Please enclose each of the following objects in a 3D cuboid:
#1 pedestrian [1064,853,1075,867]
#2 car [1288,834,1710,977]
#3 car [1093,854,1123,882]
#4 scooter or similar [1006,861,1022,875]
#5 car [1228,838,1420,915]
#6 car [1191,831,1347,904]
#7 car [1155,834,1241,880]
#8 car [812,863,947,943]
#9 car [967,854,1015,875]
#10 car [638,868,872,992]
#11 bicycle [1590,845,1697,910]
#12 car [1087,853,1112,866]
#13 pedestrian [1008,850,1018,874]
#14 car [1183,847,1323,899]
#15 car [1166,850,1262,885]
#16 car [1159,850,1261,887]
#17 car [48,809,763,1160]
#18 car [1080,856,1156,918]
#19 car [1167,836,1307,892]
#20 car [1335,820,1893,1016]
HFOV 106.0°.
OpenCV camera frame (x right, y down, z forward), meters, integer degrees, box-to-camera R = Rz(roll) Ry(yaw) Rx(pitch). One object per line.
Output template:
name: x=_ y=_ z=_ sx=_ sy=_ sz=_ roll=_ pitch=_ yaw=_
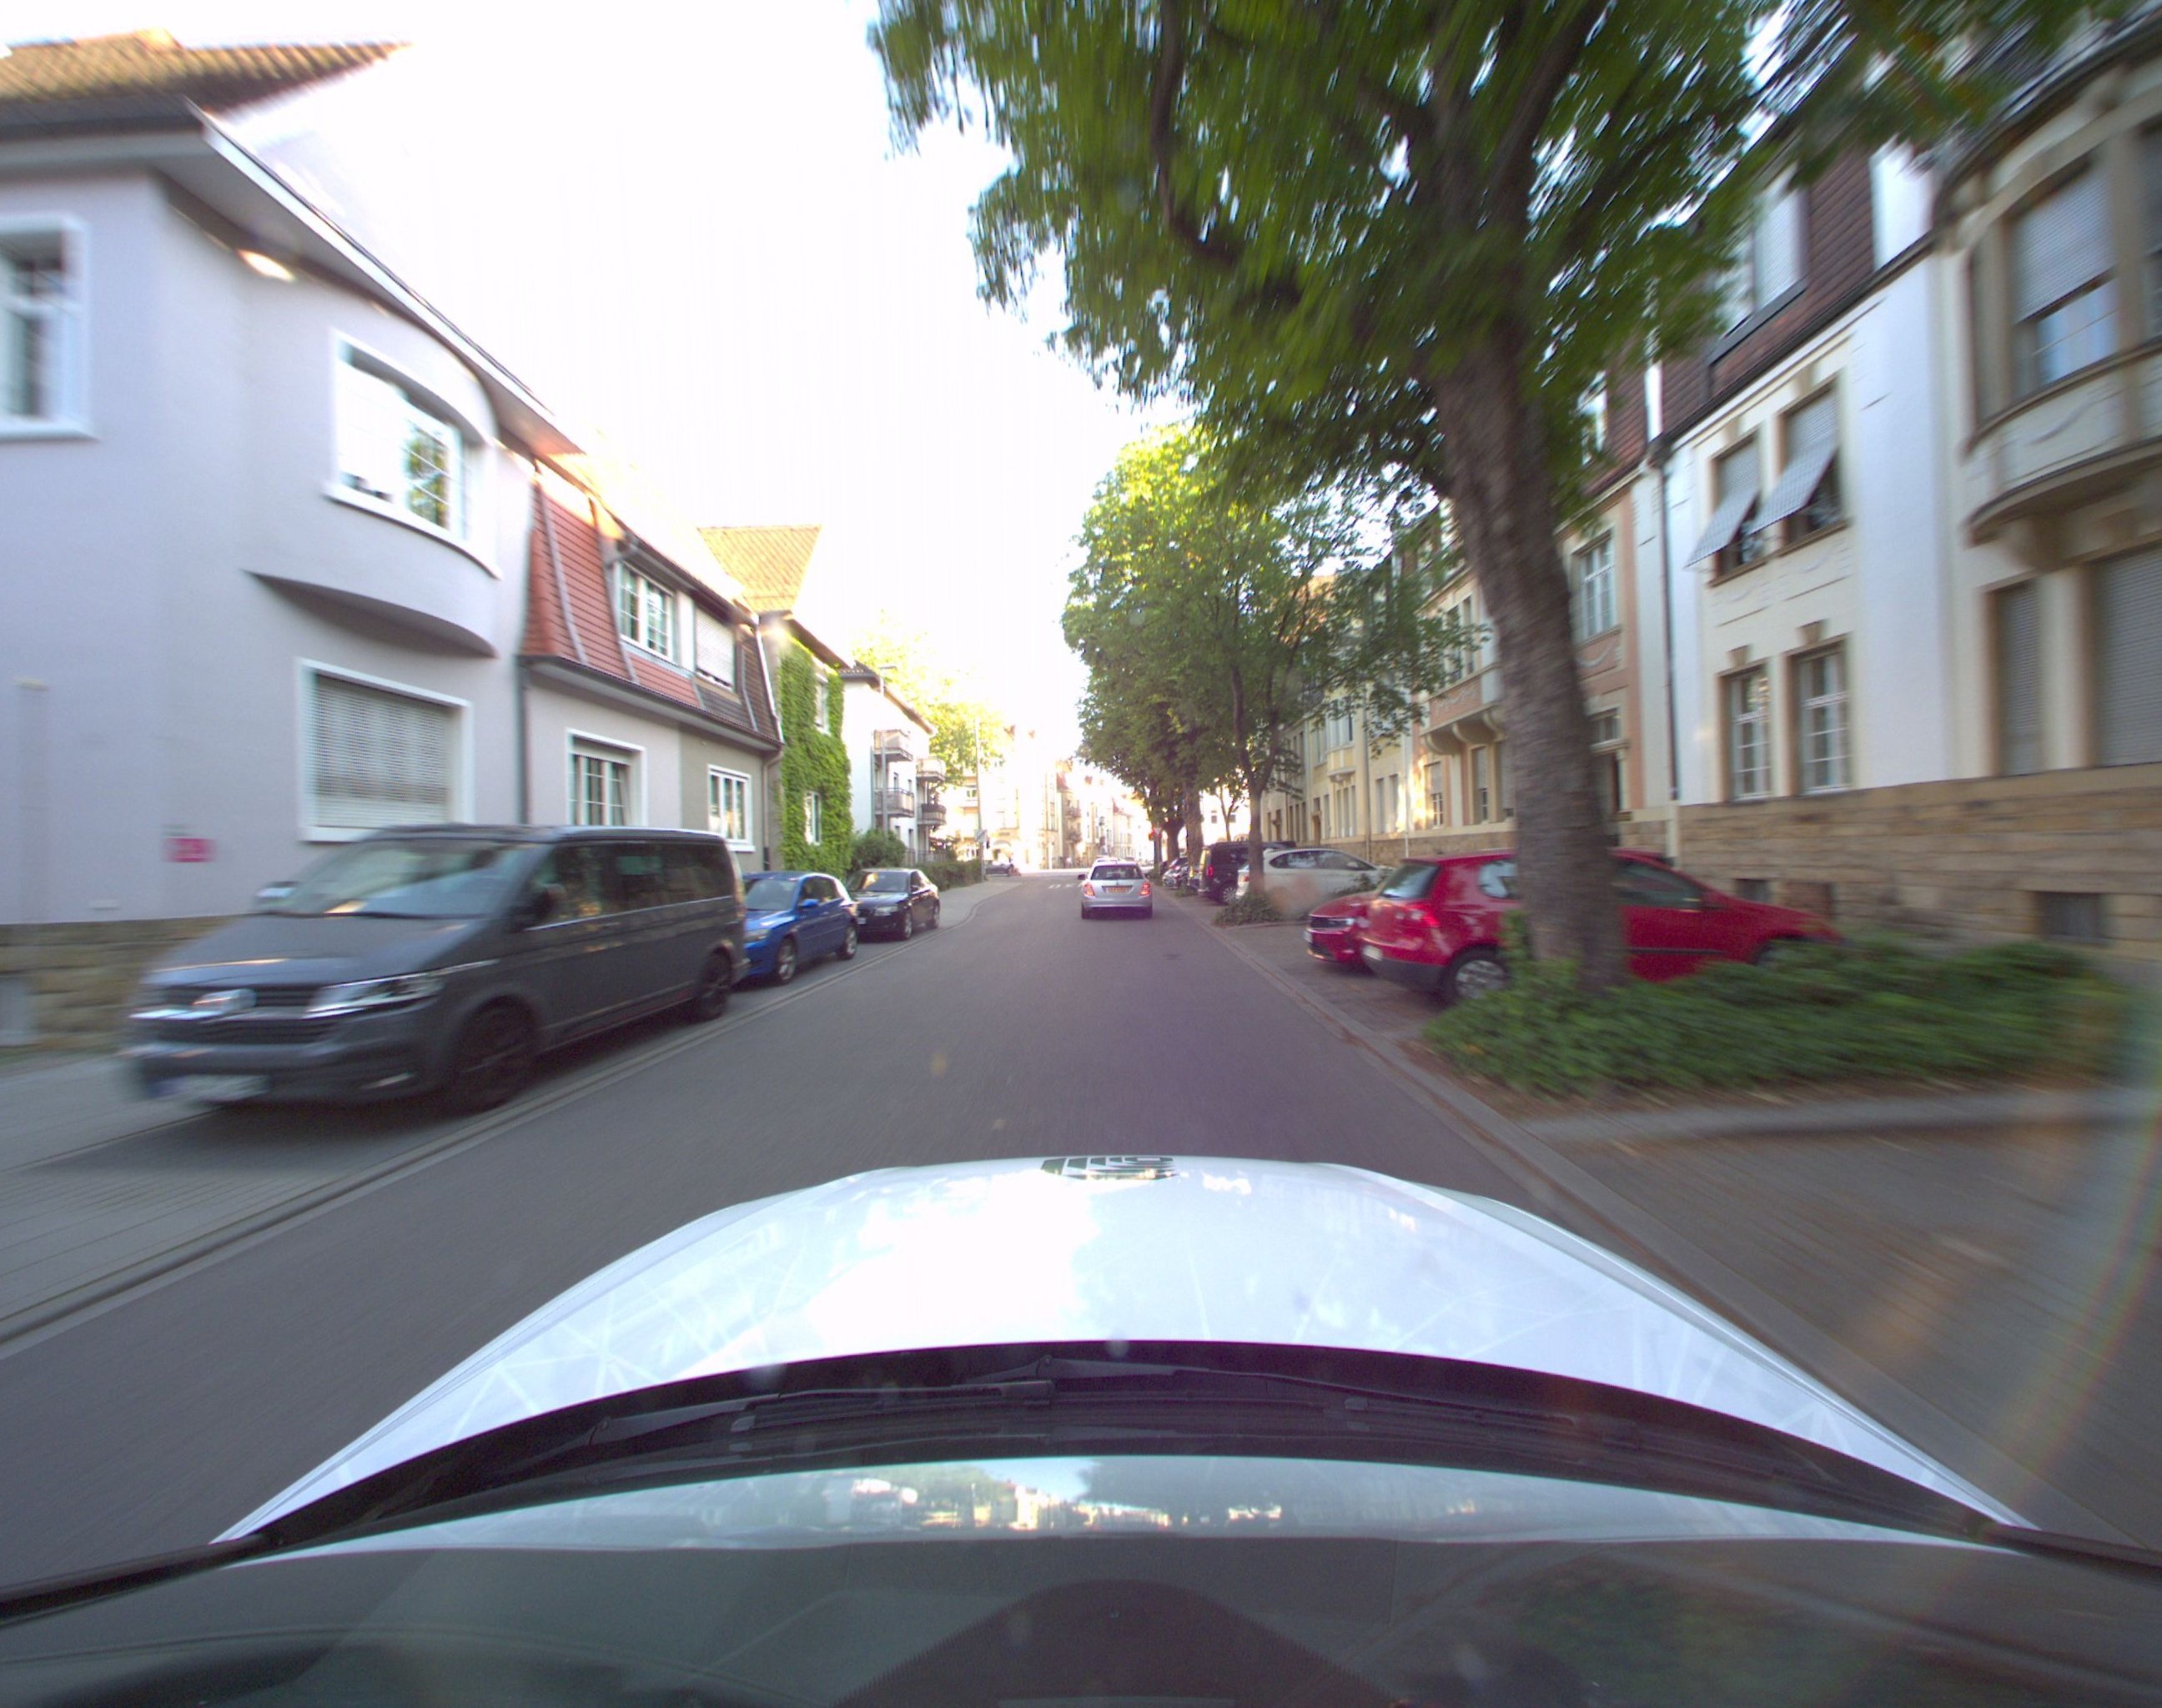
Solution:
pedestrian: x=-1.507 y=0.794 z=108.391 sx=1.215 sy=1.721 sz=1.505 roll=-1 pitch=0 yaw=5
car: x=5.083 y=0.613 z=10.458 sx=4.391 sy=1.419 sz=1.879 roll=-4 pitch=-1 yaw=4
car: x=1.632 y=0.792 z=48.293 sx=1.617 sy=1.570 sz=3.683 roll=-1 pitch=0 yaw=3
scooter or similar: x=-5.400 y=1.100 z=65.418 sx=1.172 sy=1.052 sz=0.409 roll=-3 pitch=0 yaw=-2
car: x=5.801 y=0.522 z=19.860 sx=4.095 sy=1.571 sz=1.878 roll=-3 pitch=0 yaw=2
car: x=5.577 y=0.399 z=24.604 sx=4.206 sy=1.896 sz=1.905 roll=-3 pitch=0 yaw=0
car: x=6.388 y=0.167 z=44.704 sx=4.375 sy=2.364 sz=2.000 roll=-1 pitch=0 yaw=-1
car: x=-4.207 y=0.966 z=17.744 sx=1.688 sy=1.447 sz=4.360 roll=0 pitch=0 yaw=2
car: x=-7.442 y=0.845 z=67.830 sx=3.883 sy=1.642 sz=1.750 roll=-1 pitch=0 yaw=-6
car: x=-4.590 y=0.980 z=12.219 sx=1.647 sy=1.447 sz=4.240 roll=0 pitch=0 yaw=2
bicycle: x=9.906 y=0.387 z=14.442 sx=0.472 sy=1.056 sz=2.046 roll=-3 pitch=0 yaw=1
car: x=2.356 y=0.674 z=101.187 sx=1.978 sy=1.585 sz=4.019 roll=-1 pitch=0 yaw=18
pedestrian: x=-5.483 y=0.641 z=65.416 sx=0.641 sy=1.866 sz=0.410 roll=-3 pitch=0 yaw=-2
car: x=5.649 y=0.608 z=27.106 sx=4.275 sy=1.541 sz=1.876 roll=-1 pitch=0 yaw=-1
car: x=6.348 y=0.632 z=39.147 sx=4.275 sy=1.541 sz=1.899 roll=-1 pitch=0 yaw=-1
car: x=5.782 y=0.638 z=36.794 sx=4.275 sy=1.417 sz=1.876 roll=-3 pitch=0 yaw=-1
car: x=-4.730 y=0.723 z=6.977 sx=1.975 sy=1.947 sz=4.853 roll=0 pitch=0 yaw=1
car: x=0.972 y=0.795 z=21.188 sx=1.777 sy=1.437 sz=3.853 roll=-1 pitch=-1 yaw=3
car: x=6.023 y=0.365 z=31.857 sx=5.038 sy=1.989 sz=2.071 roll=-1 pitch=0 yaw=-1
car: x=4.876 y=0.574 z=8.013 sx=4.171 sy=1.475 sz=1.854 roll=-4 pitch=-1 yaw=4
